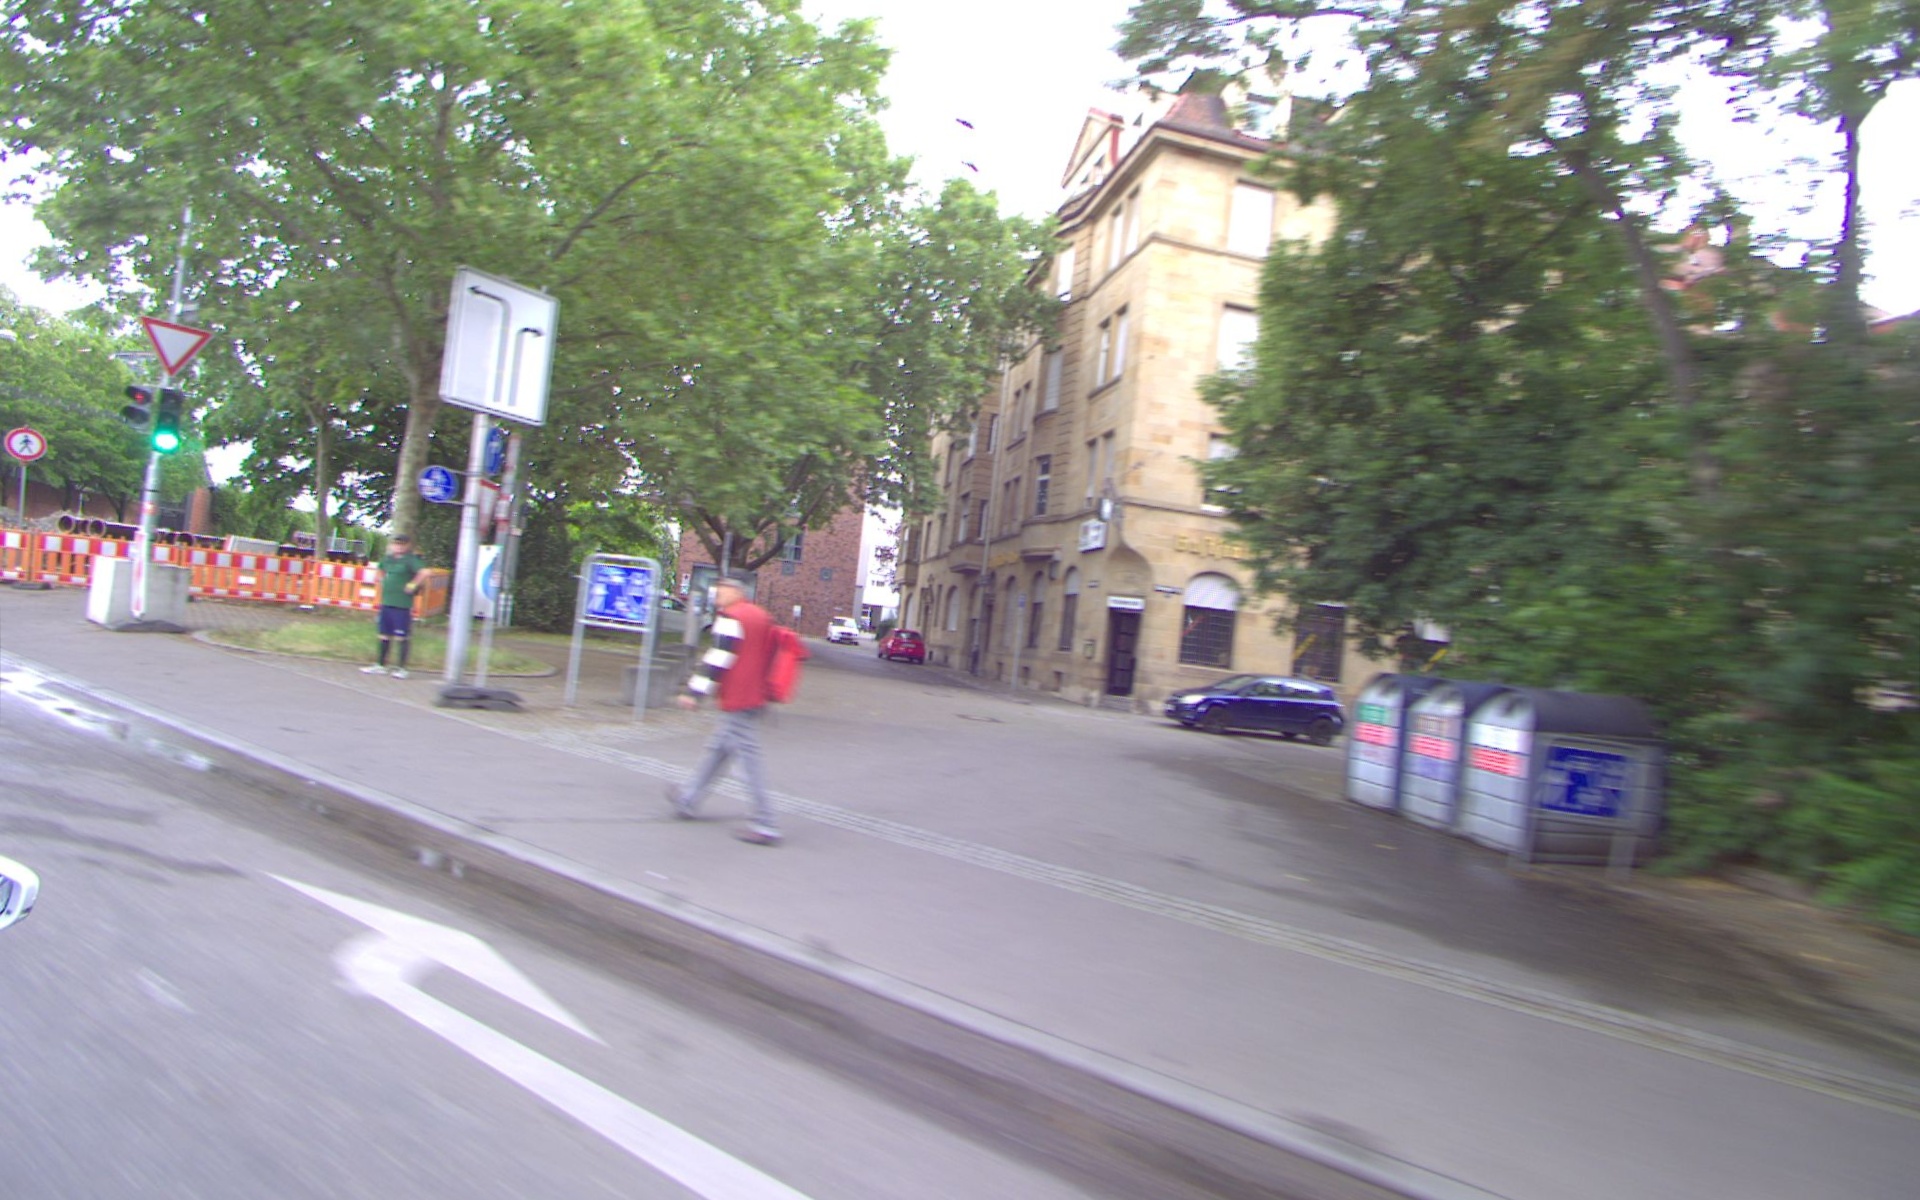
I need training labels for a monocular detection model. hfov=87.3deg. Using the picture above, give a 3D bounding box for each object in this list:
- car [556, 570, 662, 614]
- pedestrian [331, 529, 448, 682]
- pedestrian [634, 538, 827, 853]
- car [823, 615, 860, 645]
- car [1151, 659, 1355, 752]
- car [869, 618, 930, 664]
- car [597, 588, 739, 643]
[{"bbox_3d":[-16.159,-0.337,46.432,4.442,1.489,1.713,7,-1,-19],"label":"car"},{"bbox_3d":[-6.911,0.079,12.202,0.822,1.718,0.732,7,1,23],"label":"pedestrian"},{"bbox_3d":[-1.478,0.586,6.527,0.715,1.854,0.780,7,1,32],"label":"pedestrian"},{"bbox_3d":[-7.028,1.738,59.476,1.692,1.524,4.103,6,-2,-12],"label":"car"},{"bbox_3d":[6.660,2.389,23.086,4.019,1.482,1.729,8,0,-7],"label":"car"},{"bbox_3d":[-2.762,1.806,45.046,1.967,1.731,4.400,6,-2,-12],"label":"car"},{"bbox_3d":[-9.918,0.532,34.382,4.437,1.341,1.715,7,-1,-16],"label":"car"}]
